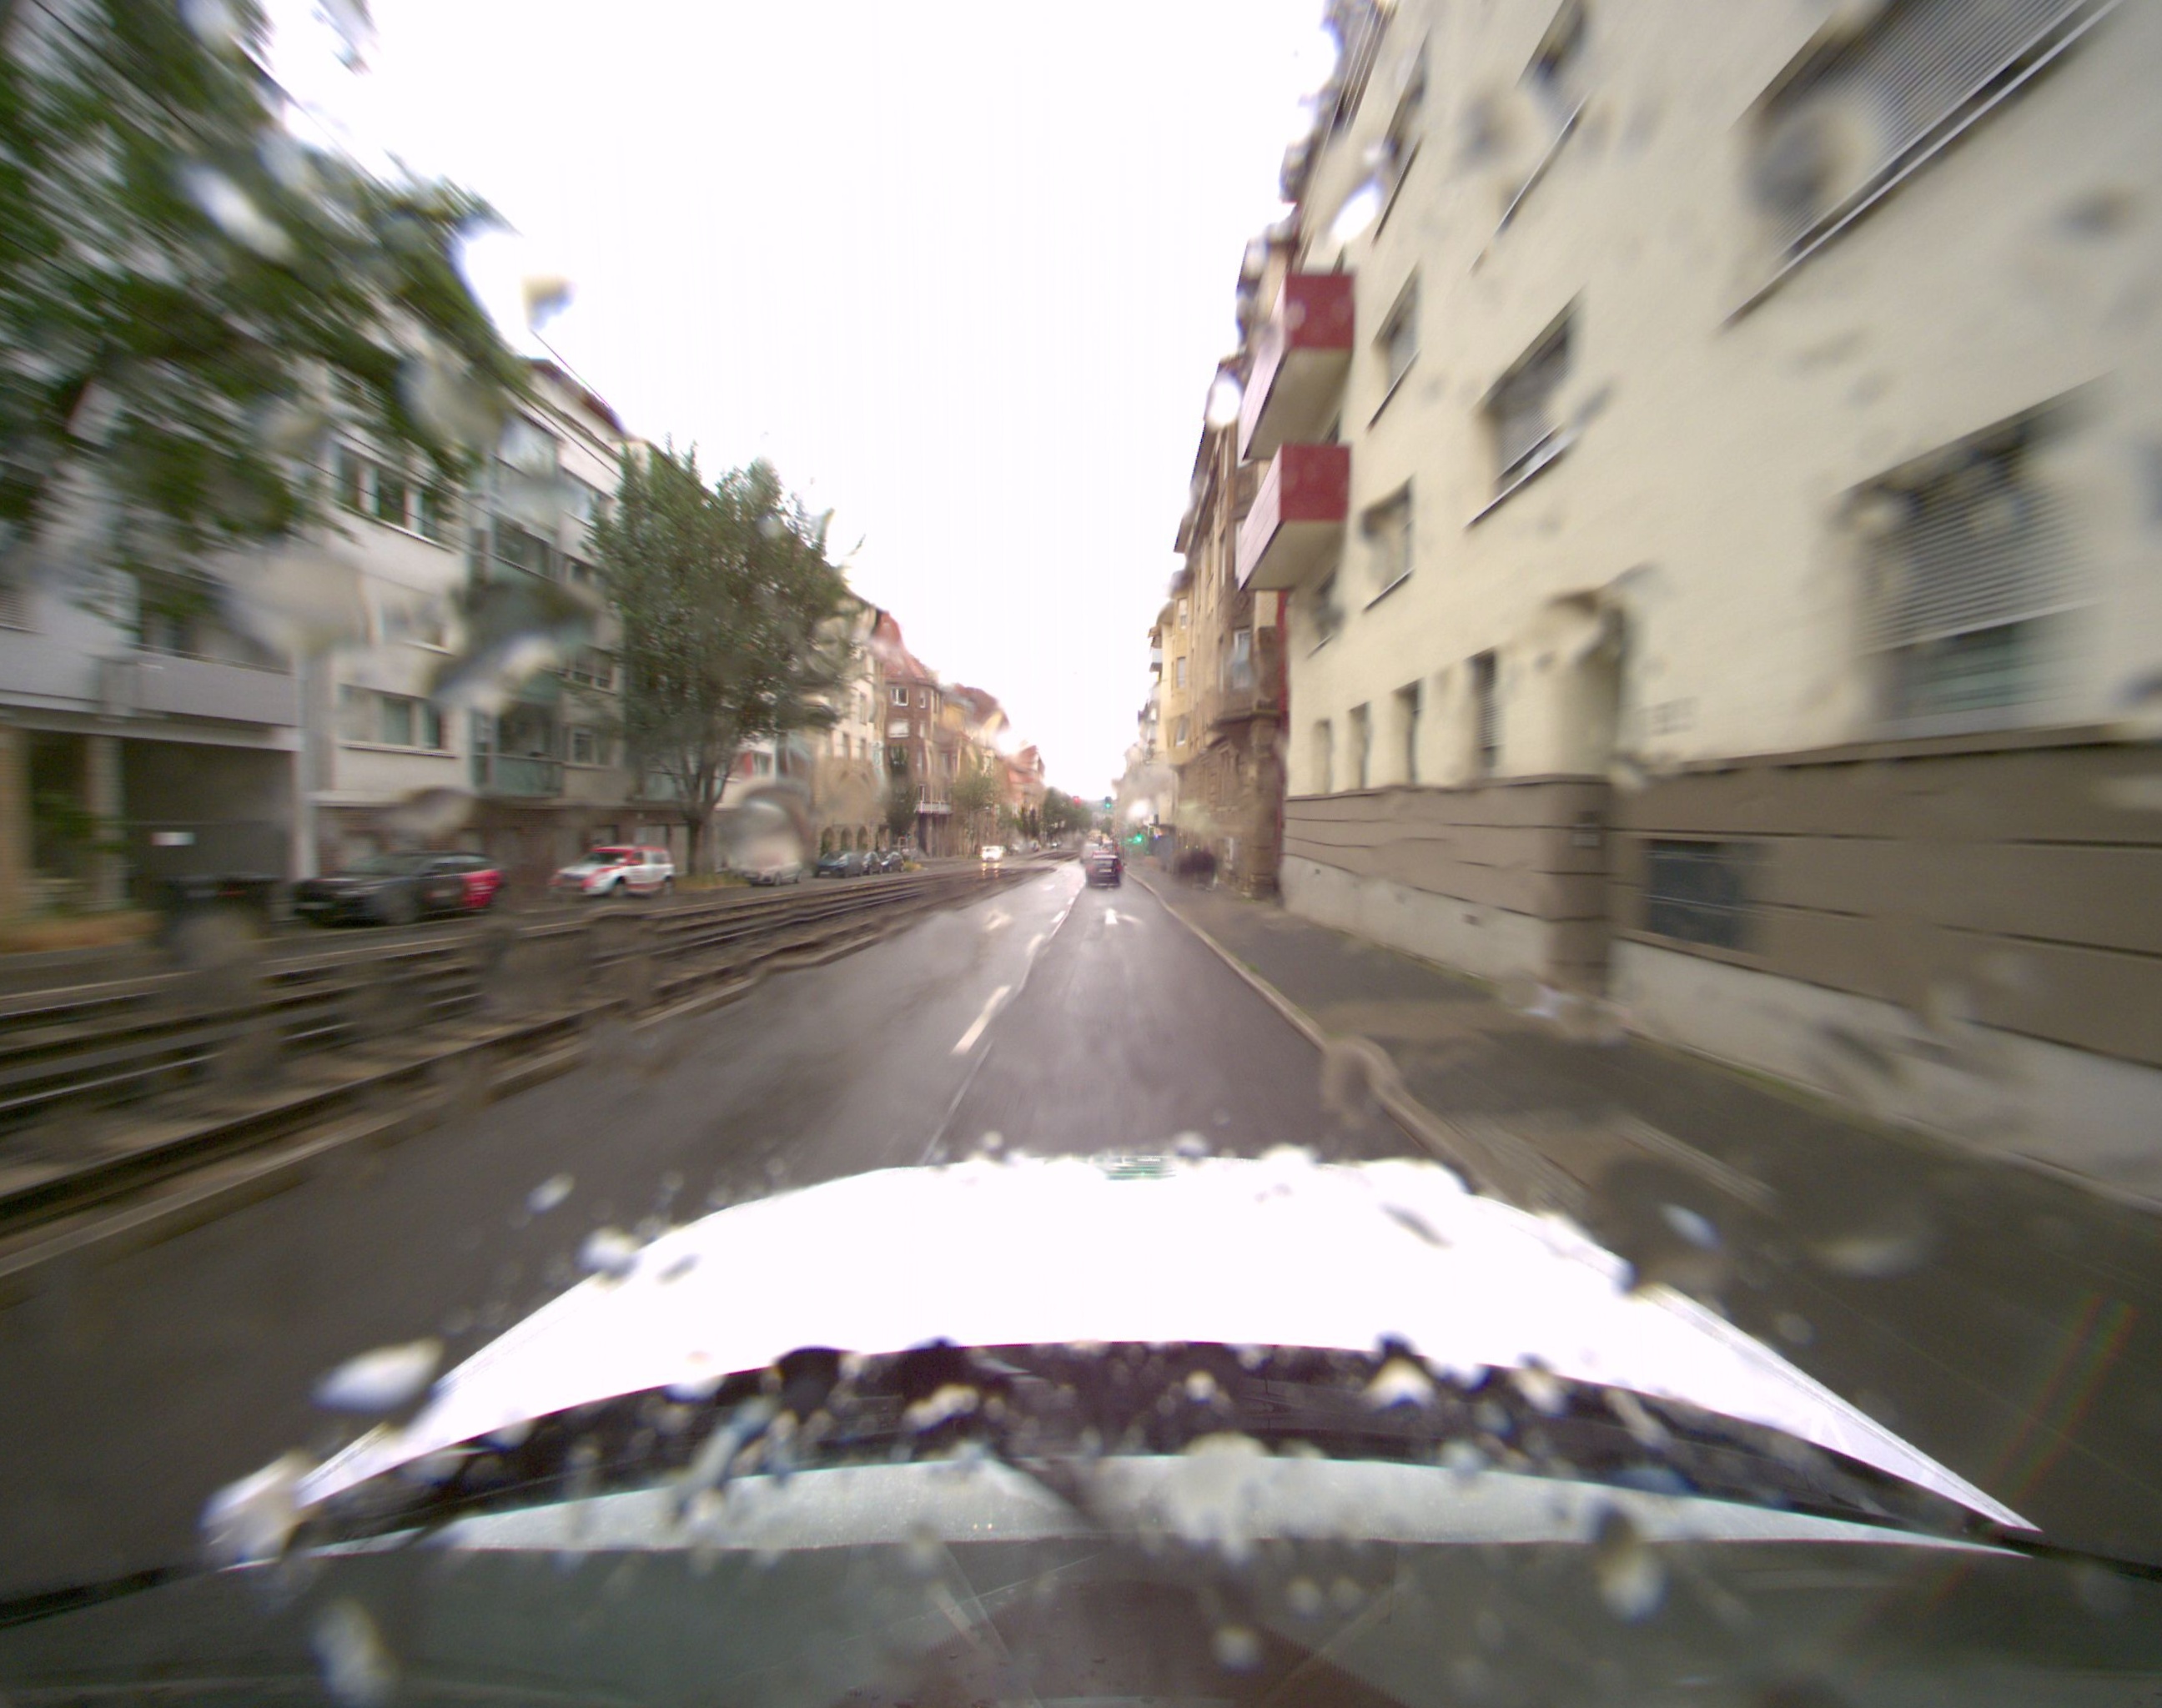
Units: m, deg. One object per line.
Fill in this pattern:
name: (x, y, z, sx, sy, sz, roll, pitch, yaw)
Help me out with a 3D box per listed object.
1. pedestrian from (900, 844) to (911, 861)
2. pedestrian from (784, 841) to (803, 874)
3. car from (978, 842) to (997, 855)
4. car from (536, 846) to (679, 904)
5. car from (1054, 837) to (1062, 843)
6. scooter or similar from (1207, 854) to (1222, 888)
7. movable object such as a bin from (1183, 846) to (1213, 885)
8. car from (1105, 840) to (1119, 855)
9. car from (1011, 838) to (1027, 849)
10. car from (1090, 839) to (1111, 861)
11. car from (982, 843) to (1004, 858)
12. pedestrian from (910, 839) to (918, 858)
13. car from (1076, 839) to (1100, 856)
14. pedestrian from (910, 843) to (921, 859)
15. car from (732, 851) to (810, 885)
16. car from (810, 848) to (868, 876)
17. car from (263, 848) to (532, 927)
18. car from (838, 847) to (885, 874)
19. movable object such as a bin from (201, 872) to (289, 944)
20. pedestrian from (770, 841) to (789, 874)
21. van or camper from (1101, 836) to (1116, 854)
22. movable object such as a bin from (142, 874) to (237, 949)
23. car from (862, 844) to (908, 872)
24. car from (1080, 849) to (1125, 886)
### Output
pedestrian: (-15.025, -0.149, 69.566, 0.751, 1.421, 0.646, 0, 0, 3)
pedestrian: (-15.290, 0.182, 43.329, 0.671, 1.772, 0.783, 0, 0, 2)
car: (-11.502, -0.694, 100.382, 1.758, 1.486, 4.003, 0, 0, 2)
car: (-13.968, 0.555, 24.342, 1.770, 1.569, 4.159, 0, 1, 1)
car: (-6.846, -4.115, 242.813, 1.986, 1.793, 4.003, 1, 1, 2)
scooter or similar: (4.577, 0.584, 27.955, 0.209, 1.112, 0.889, -2, -1, -8)
movable object such as a bin: (4.667, 0.445, 32.551, 1.005, 1.451, 1.394, -2, 0, 2)
car: (3.909, -0.856, 102.945, 1.762, 1.808, 4.485, 1, 1, 2)
car: (-9.858, -1.677, 130.179, 1.776, 1.589, 4.357, -1, 1, 5)
car: (1.484, -0.324, 61.756, 1.530, 1.510, 4.003, 1, 2, 2)
car: (-8.995, -0.397, 83.457, 1.620, 1.482, 3.583, 0, 1, 2)
pedestrian: (-14.322, -0.471, 69.726, 0.514, 1.570, 0.644, -1, 0, 6)
car: (0.668, -0.665, 81.853, 1.919, 1.655, 3.991, 1, 1, -7)
pedestrian: (-14.176, -0.256, 69.670, 0.751, 1.421, 0.646, 0, 0, 3)
car: (-13.543, 0.567, 35.819, 1.696, 1.335, 4.132, 2, 1, 2)
car: (-13.204, 0.401, 44.672, 1.794, 1.455, 4.431, 0, 0, 1)
car: (-14.150, 0.604, 17.304, 1.899, 1.440, 4.470, 0, 1, 1)
car: (-13.244, 0.372, 49.338, 1.801, 1.498, 3.526, 1, 1, 1)
movable object such as a bin: (-13.892, 0.885, 13.552, 0.723, 1.121, 0.670, -1, 1, -4)
pedestrian: (-16.056, 0.188, 43.336, 0.671, 1.772, 0.783, 0, 0, 2)
van or camper: (3.792, -1.225, 111.422, 2.056, 2.469, 6.122, 0, 1, 2)
movable object such as a bin: (-14.029, 0.887, 12.835, 0.723, 1.121, 0.670, -1, 1, -4)
car: (-13.107, 0.259, 54.640, 1.878, 1.727, 3.745, 2, 1, 4)
car: (0.949, 0.591, 36.854, 1.939, 1.564, 3.643, 0, 0, 1)
